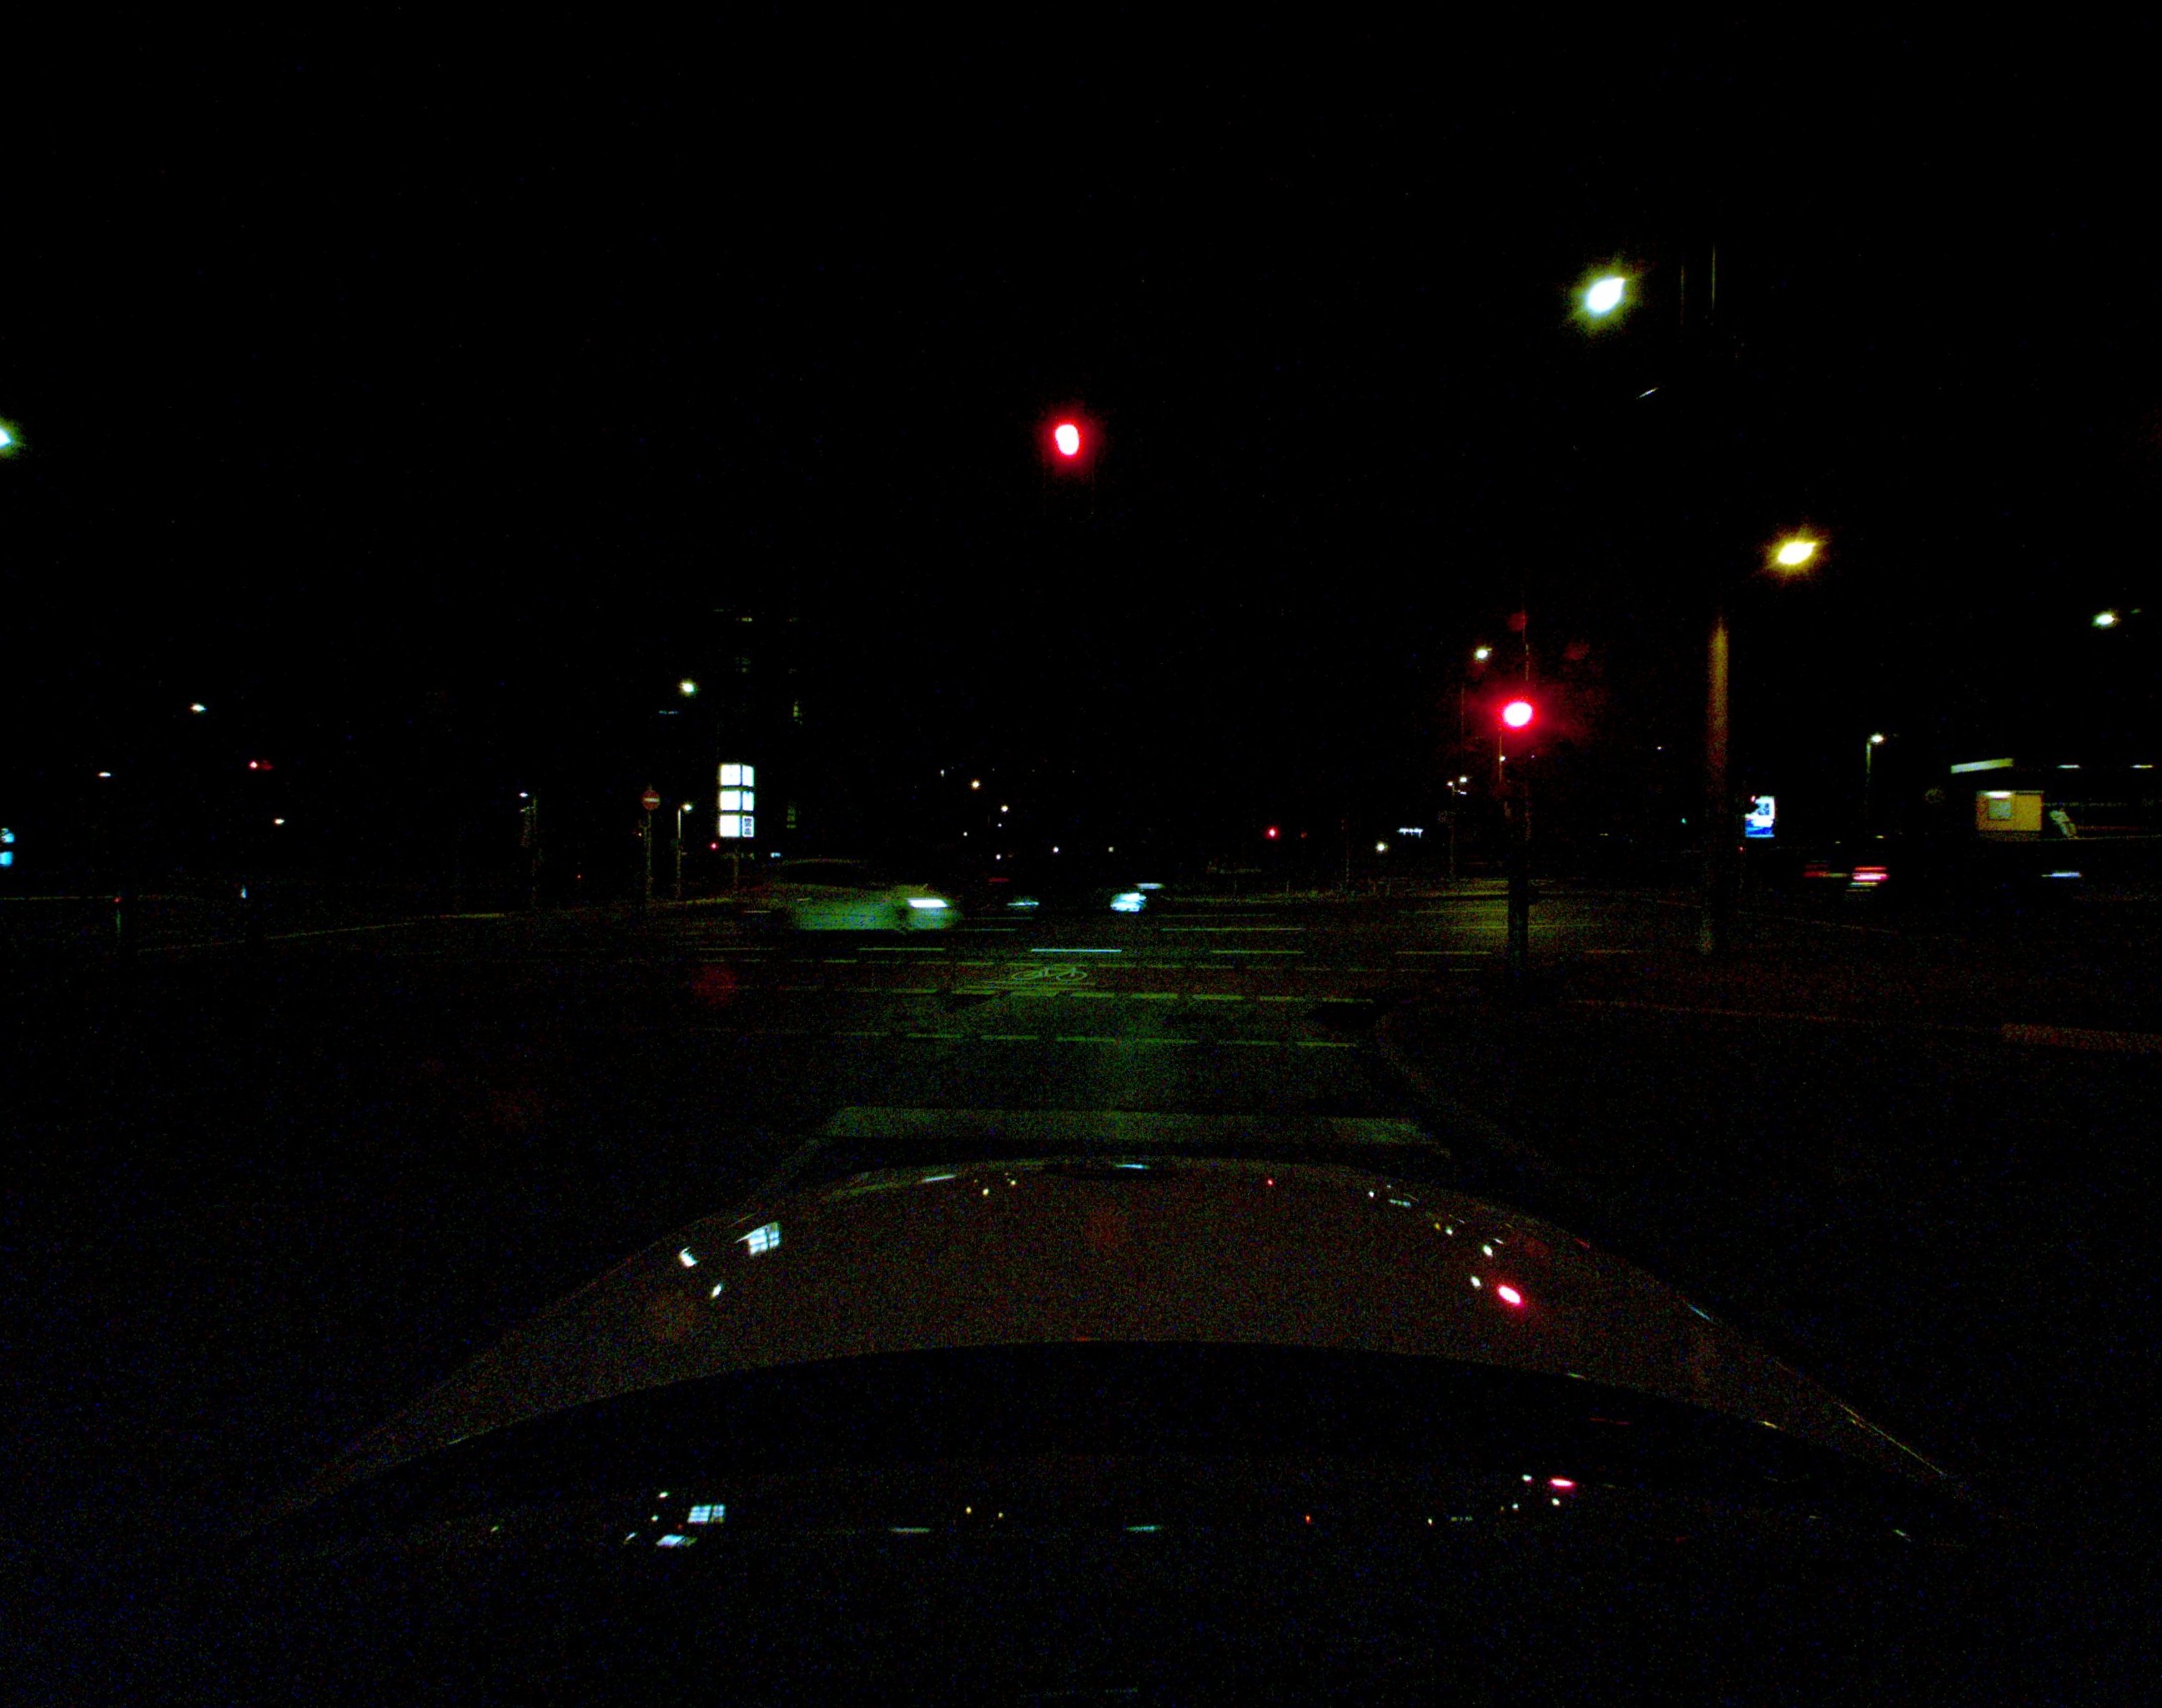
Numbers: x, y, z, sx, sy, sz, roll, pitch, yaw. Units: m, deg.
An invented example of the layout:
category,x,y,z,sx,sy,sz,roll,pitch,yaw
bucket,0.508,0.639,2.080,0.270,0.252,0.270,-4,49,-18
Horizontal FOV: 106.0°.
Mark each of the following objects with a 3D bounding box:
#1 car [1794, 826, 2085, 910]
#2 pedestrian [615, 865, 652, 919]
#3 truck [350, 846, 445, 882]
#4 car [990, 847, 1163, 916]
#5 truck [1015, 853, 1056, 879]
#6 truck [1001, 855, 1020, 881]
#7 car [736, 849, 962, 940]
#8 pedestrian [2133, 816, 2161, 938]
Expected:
category,x,y,z,sx,sy,sz,roll,pitch,yaw
car,18.673,0.285,17.891,4.323,1.651,1.812,-1,1,4
pedestrian,-13.932,1.173,25.373,0.667,1.634,0.862,0,-1,-3
truck,-59.836,0.882,71.367,5.873,3.088,2.915,0,-1,3
car,-0.051,0.710,21.968,4.425,1.659,1.866,-2,0,4
truck,-8.562,2.230,151.644,4.835,4.547,12.591,0,-1,-17
truck,-10.450,1.963,119.710,2.580,3.707,5.723,0,-1,-7
car,-4.597,0.786,16.518,3.968,1.662,1.812,-1,-1,5
pedestrian,15.838,0.306,11.490,0.752,1.745,0.834,-3,-2,1
